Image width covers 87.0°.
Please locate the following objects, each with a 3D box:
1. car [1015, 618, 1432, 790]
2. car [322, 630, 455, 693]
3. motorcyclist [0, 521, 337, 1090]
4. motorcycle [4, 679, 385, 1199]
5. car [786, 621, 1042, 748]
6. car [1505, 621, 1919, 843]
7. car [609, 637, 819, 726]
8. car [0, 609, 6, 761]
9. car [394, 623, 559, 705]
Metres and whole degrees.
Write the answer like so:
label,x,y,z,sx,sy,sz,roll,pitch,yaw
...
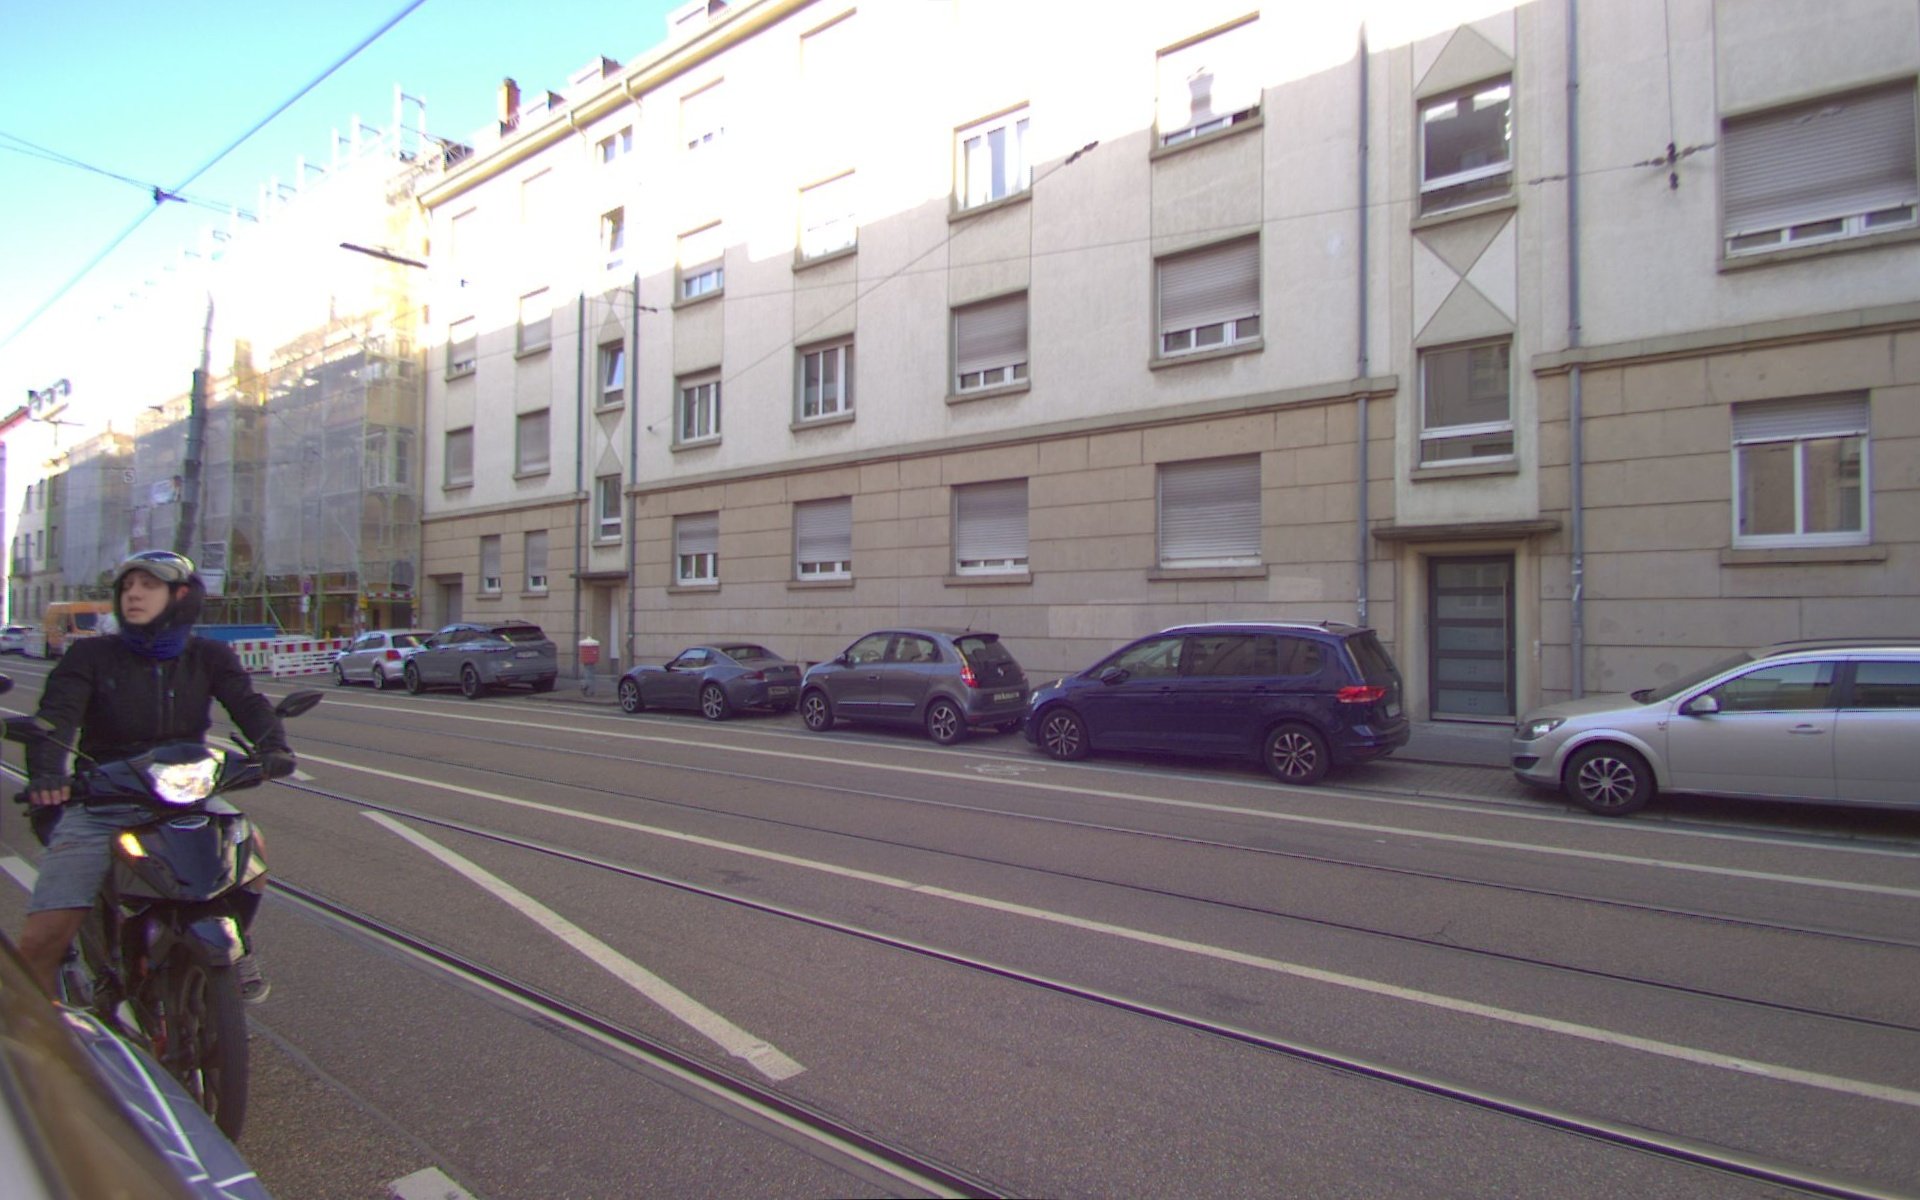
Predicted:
label,x,y,z,sx,sy,sz,roll,pitch,yaw
car,2.942,1.029,11.707,4.285,1.597,1.887,-1,0,37
car,-14.409,1.495,25.458,3.639,1.402,1.617,-1,0,37
motorcyclist,-2.544,0.546,3.178,0.598,1.516,0.851,-1,0,41
motorcycle,-2.413,0.914,3.078,1.980,1.228,0.532,-1,0,41
car,-0.723,1.119,14.733,3.493,1.584,1.650,-1,0,38
car,7.218,0.993,8.533,4.358,1.571,1.975,-1,0,38
car,-4.296,1.328,17.526,3.483,1.286,1.730,-1,0,37
car,-8.044,0.829,6.976,3.997,1.515,1.670,-2,-3,40
car,-10.868,1.357,22.642,4.108,1.603,1.691,-1,0,38
